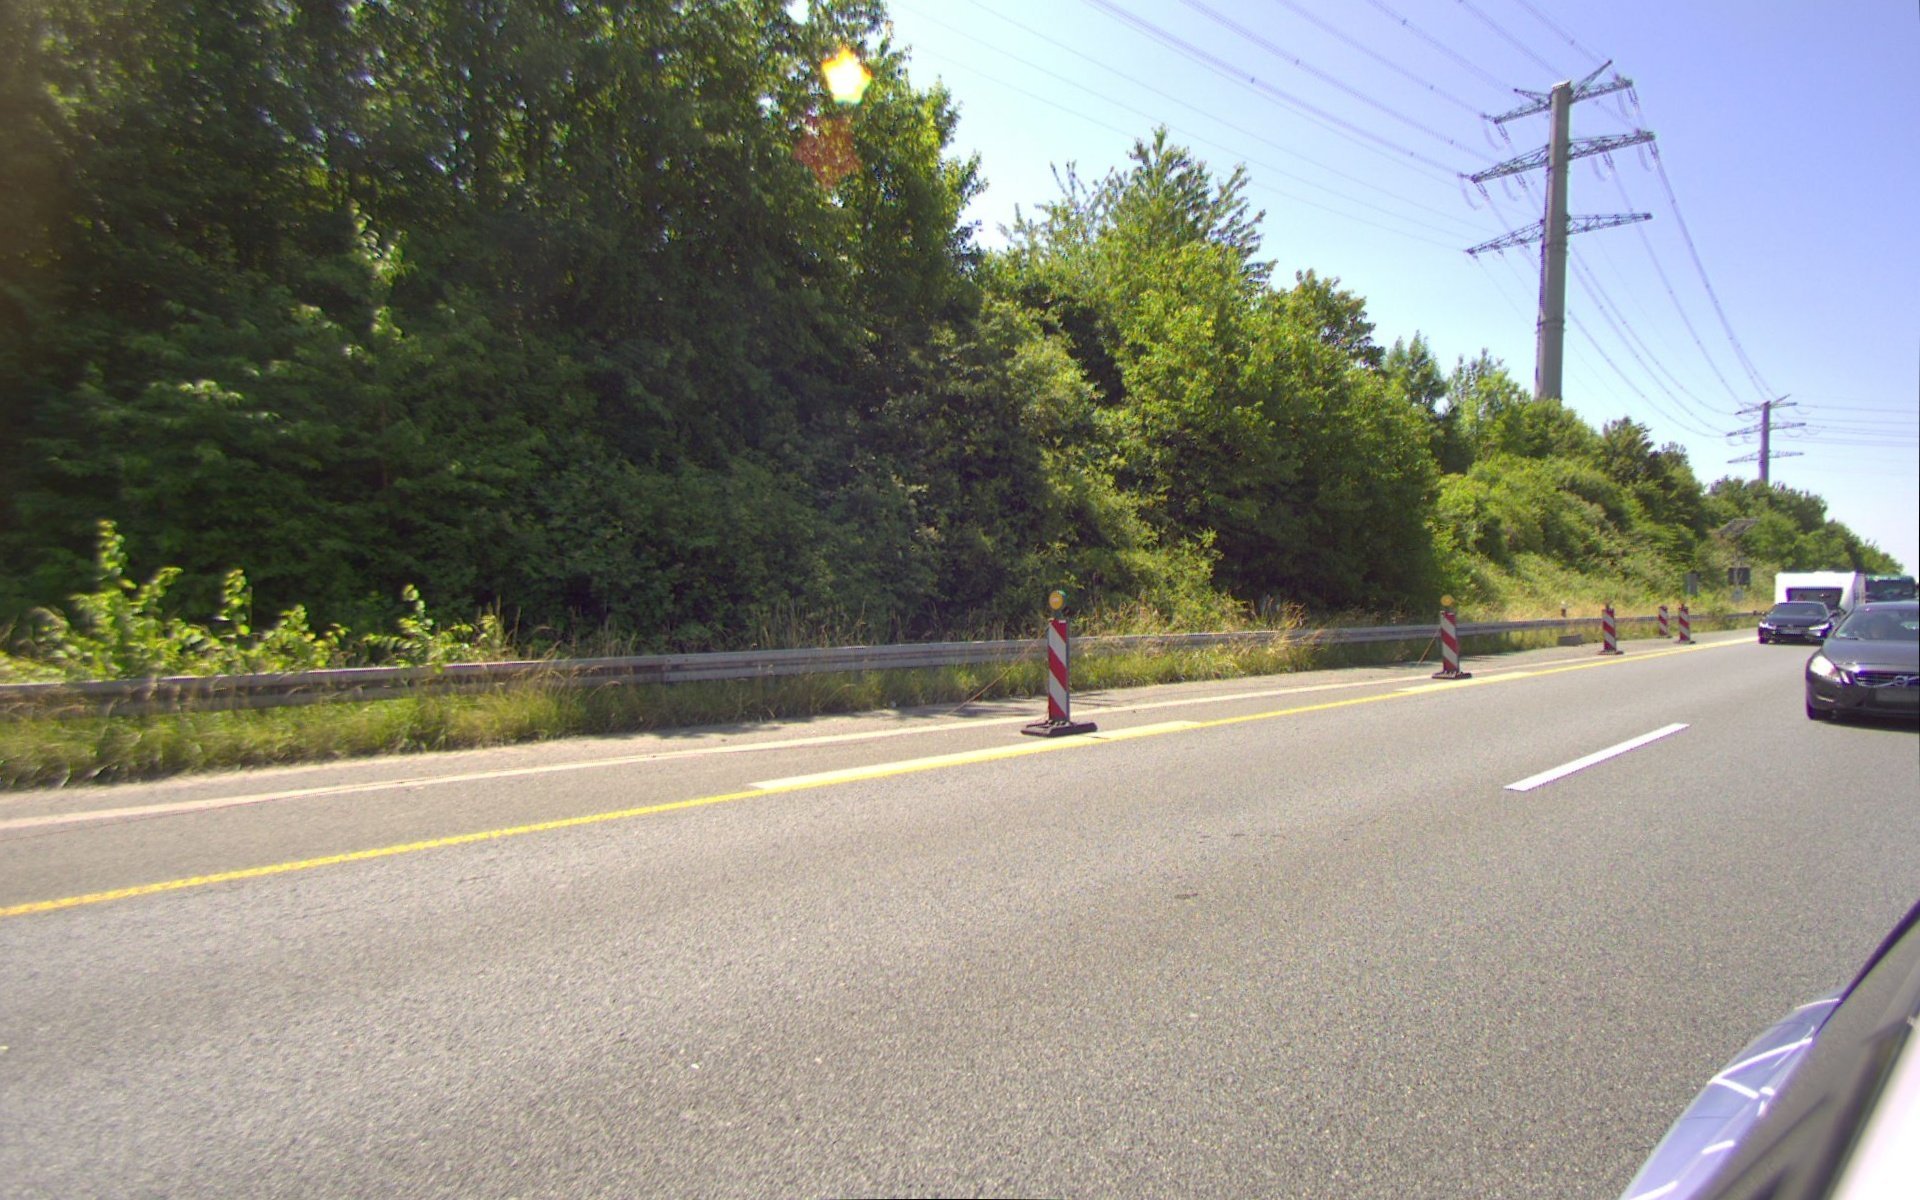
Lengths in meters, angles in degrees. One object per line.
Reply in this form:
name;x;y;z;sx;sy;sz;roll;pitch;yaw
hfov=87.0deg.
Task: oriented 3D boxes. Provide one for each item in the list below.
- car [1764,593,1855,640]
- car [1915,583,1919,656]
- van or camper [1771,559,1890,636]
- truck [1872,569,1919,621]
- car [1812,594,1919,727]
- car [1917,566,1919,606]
car;28.295;0.500;33.659;4.138;1.425;1.798;0;1;-43
car;24.173;0.463;24.054;4.084;1.689;1.743;0;1;-41
van or camper;32.783;-0.117;37.982;8.274;2.597;2.429;0;0;-43
truck;61.060;-0.312;65.235;7.513;3.181;2.428;0;-2;-41
car;12.013;0.666;12.498;3.932;1.459;1.796;0;0;-42
car;96.609;-1.383;99.782;10.096;3.849;2.394;0;0;-42
